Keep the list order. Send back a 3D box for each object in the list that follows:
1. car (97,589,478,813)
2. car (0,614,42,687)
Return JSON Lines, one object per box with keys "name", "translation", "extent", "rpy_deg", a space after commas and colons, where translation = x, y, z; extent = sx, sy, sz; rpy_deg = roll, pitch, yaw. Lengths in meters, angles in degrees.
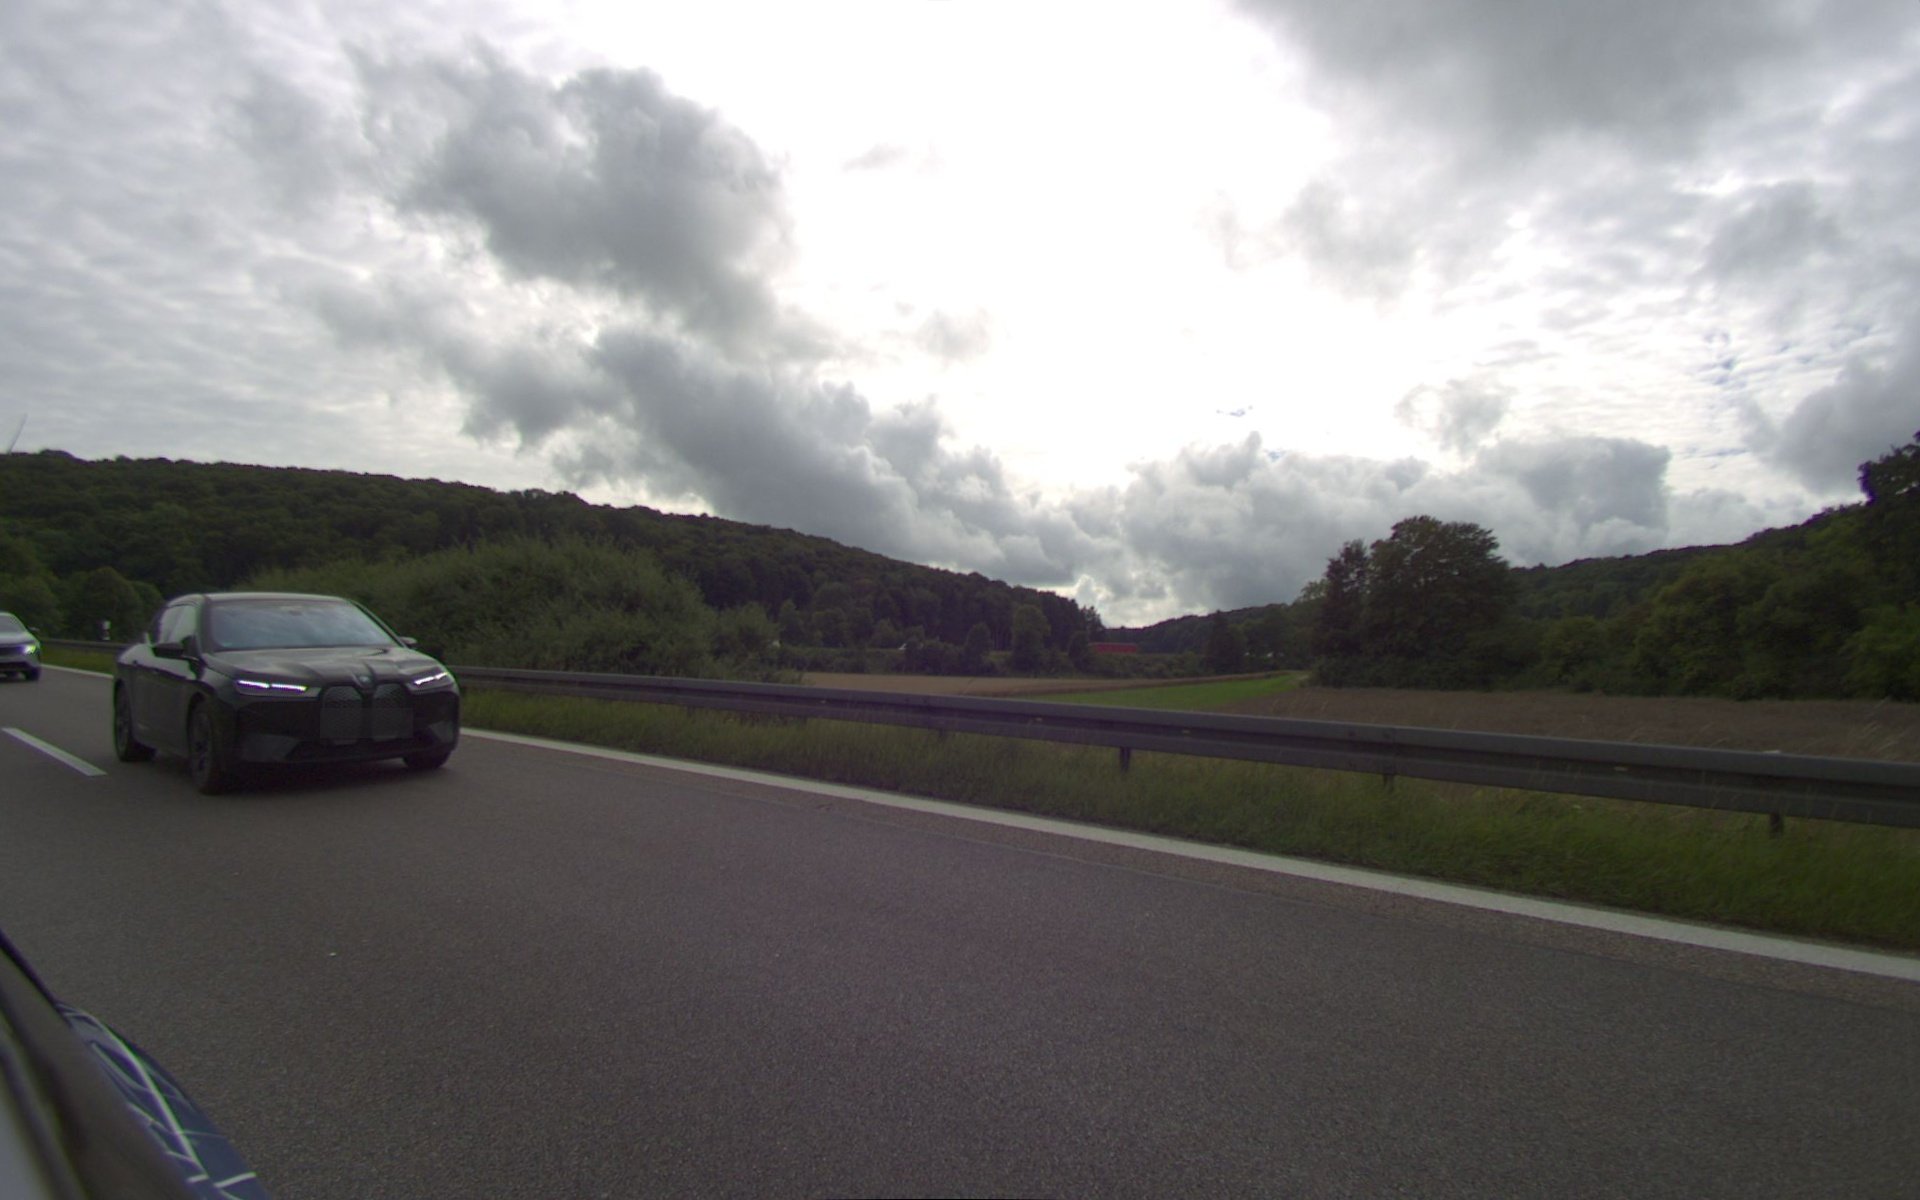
{"name": "car", "translation": [-6.649, 0.807, 9.816], "extent": [4.412, 1.678, 1.973], "rpy_deg": [-1, -2, 41]}
{"name": "car", "translation": [-23.818, 1.195, 24.323], "extent": [4.411, 1.678, 1.974], "rpy_deg": [-1, -2, 40]}
